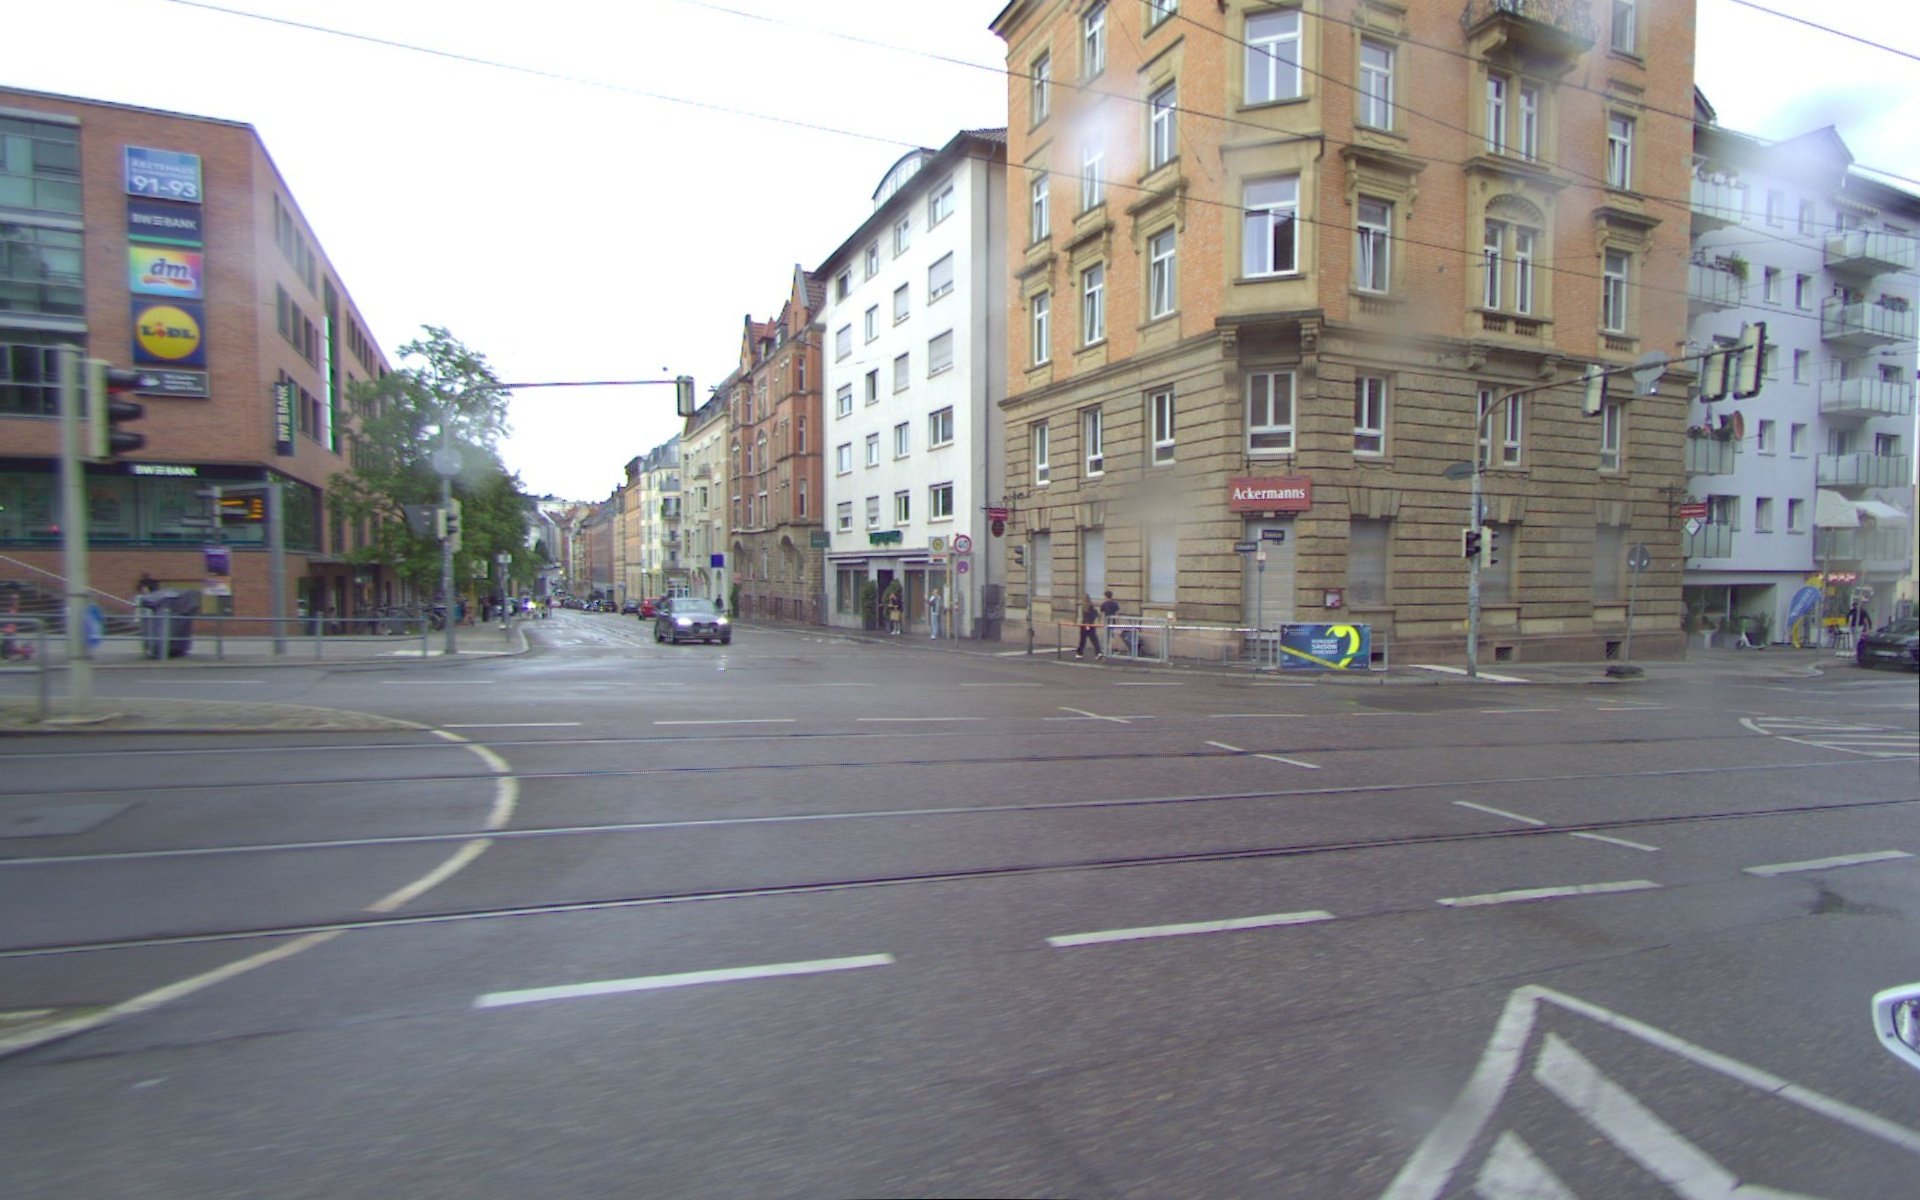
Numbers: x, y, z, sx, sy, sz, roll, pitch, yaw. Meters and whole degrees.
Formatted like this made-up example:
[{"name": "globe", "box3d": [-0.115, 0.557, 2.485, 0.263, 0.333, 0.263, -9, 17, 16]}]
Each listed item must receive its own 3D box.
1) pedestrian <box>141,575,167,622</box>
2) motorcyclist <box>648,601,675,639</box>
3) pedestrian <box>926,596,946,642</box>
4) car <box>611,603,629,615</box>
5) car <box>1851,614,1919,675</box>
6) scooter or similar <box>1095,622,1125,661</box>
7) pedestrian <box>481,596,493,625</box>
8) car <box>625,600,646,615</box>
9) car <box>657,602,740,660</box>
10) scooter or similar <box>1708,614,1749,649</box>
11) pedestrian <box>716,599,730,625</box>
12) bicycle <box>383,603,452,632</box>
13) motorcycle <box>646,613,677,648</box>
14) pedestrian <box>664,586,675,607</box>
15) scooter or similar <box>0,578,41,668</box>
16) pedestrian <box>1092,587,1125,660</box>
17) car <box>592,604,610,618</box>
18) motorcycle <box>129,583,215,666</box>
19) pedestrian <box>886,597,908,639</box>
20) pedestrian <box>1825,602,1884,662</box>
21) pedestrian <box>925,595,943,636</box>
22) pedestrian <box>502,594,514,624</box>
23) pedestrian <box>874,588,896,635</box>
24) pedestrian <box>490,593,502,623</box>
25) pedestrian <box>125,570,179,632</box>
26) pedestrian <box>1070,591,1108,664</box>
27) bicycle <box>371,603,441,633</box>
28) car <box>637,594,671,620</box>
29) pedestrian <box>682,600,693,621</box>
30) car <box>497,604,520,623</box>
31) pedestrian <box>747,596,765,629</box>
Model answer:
[{"name": "pedestrian", "box3d": [-27.903, -0.052, 34.783, 0.584, 1.587, 0.516, 1, 1, -27]}, {"name": "motorcyclist", "box3d": [-10.740, 0.716, 36.122, 0.830, 1.320, 0.810, 1, 0, -24]}, {"name": "pedestrian", "box3d": [-0.874, 0.691, 37.089, 0.586, 1.690, 0.600, 1, 0, -15]}, {"name": "car", "box3d": [-39.937, 1.059, 117.949, 1.615, 1.310, 3.994, 1, 1, -25]}, {"name": "car", "box3d": [29.007, 1.333, 30.237, 4.306, 1.673, 1.727, 1, 1, -26]}, {"name": "scooter or similar", "box3d": [3.906, 1.071, 26.119, 0.546, 0.957, 0.576, 1, 0, 35]}, {"name": "pedestrian", "box3d": [-26.784, 0.597, 56.897, 0.565, 1.651, 0.483, 1, 1, -24]}, {"name": "car", "box3d": [-30.374, 0.697, 93.979, 1.613, 1.310, 3.978, 1, 1, -22]}, {"name": "car", "box3d": [-8.324, 0.951, 31.767, 1.817, 1.687, 3.975, 1, -1, -25]}, {"name": "scooter or similar", "box3d": [27.305, 1.141, 35.683, 0.313, 1.225, 1.082, 1, -3, -35]}, {"name": "pedestrian", "box3d": [-17.245, 0.844, 73.133, 0.803, 1.861, 0.765, 1, 0, -26]}, {"name": "bicycle", "box3d": [-21.752, 0.701, 40.360, 2.333, 1.116, 0.848, 1, 1, -22]}, {"name": "motorcycle", "box3d": [-10.696, 1.074, 35.984, 0.854, 1.174, 1.841, 1, 0, -23]}, {"name": "pedestrian", "box3d": [-26.471, -0.289, 91.445, 0.803, 1.861, 0.765, 1, 0, -26]}, {"name": "scooter or similar", "box3d": [-15.334, 0.349, 16.390, 0.449, 1.389, 1.488, 1, 1, -41]}, {"name": "pedestrian", "box3d": [3.847, 0.613, 26.052, 0.617, 1.864, 0.638, 1, 0, 33]}, {"name": "car", "box3d": [-36.901, 1.133, 103.132, 1.613, 1.310, 3.979, 1, 1, -22]}, {"name": "motorcycle", "box3d": [-14.197, 0.413, 18.177, 0.856, 1.389, 2.637, 2, -1, -31]}, {"name": "pedestrian", "box3d": [-2.567, 0.742, 41.046, 0.657, 1.692, 0.828, 1, 1, -21]}, {"name": "pedestrian", "box3d": [30.064, 1.050, 33.770, 1.165, 1.955, 1.165, 1, 1, -33]}, {"name": "pedestrian", "box3d": [-0.983, 0.580, 37.995, 0.490, 1.557, 0.529, 1, 1, -21]}, {"name": "pedestrian", "box3d": [-25.360, 0.503, 56.339, 0.591, 1.651, 0.569, 1, 1, -26]}, {"name": "pedestrian", "box3d": [-3.314, 0.489, 44.277, 0.756, 2.040, 0.862, 1, 0, -20]}, {"name": "pedestrian", "box3d": [-25.729, 0.426, 55.727, 0.567, 1.651, 0.569, 1, 1, -26]}, {"name": "pedestrian", "box3d": [-23.505, 0.037, 29.225, 0.995, 1.753, 0.893, 1, 0, -25]}, {"name": "pedestrian", "box3d": [3.250, 0.684, 25.332, 0.631, 1.790, 0.624, -3, 0, -24]}, {"name": "bicycle", "box3d": [-21.604, 0.707, 39.193, 2.342, 1.116, 0.693, 1, 1, -33]}, {"name": "car", "box3d": [-20.936, 0.467, 68.707, 1.615, 1.603, 3.973, 1, 2, -26]}, {"name": "pedestrian", "box3d": [-23.705, 0.917, 87.381, 0.803, 1.861, 0.765, 1, 0, -26]}, {"name": "car", "box3d": [-40.142, 1.150, 89.299, 1.793, 1.610, 3.975, 1, 0, -25]}, {"name": "pedestrian", "box3d": [-11.543, 0.720, 56.879, 0.803, 1.861, 0.765, 1, 0, -26]}]
